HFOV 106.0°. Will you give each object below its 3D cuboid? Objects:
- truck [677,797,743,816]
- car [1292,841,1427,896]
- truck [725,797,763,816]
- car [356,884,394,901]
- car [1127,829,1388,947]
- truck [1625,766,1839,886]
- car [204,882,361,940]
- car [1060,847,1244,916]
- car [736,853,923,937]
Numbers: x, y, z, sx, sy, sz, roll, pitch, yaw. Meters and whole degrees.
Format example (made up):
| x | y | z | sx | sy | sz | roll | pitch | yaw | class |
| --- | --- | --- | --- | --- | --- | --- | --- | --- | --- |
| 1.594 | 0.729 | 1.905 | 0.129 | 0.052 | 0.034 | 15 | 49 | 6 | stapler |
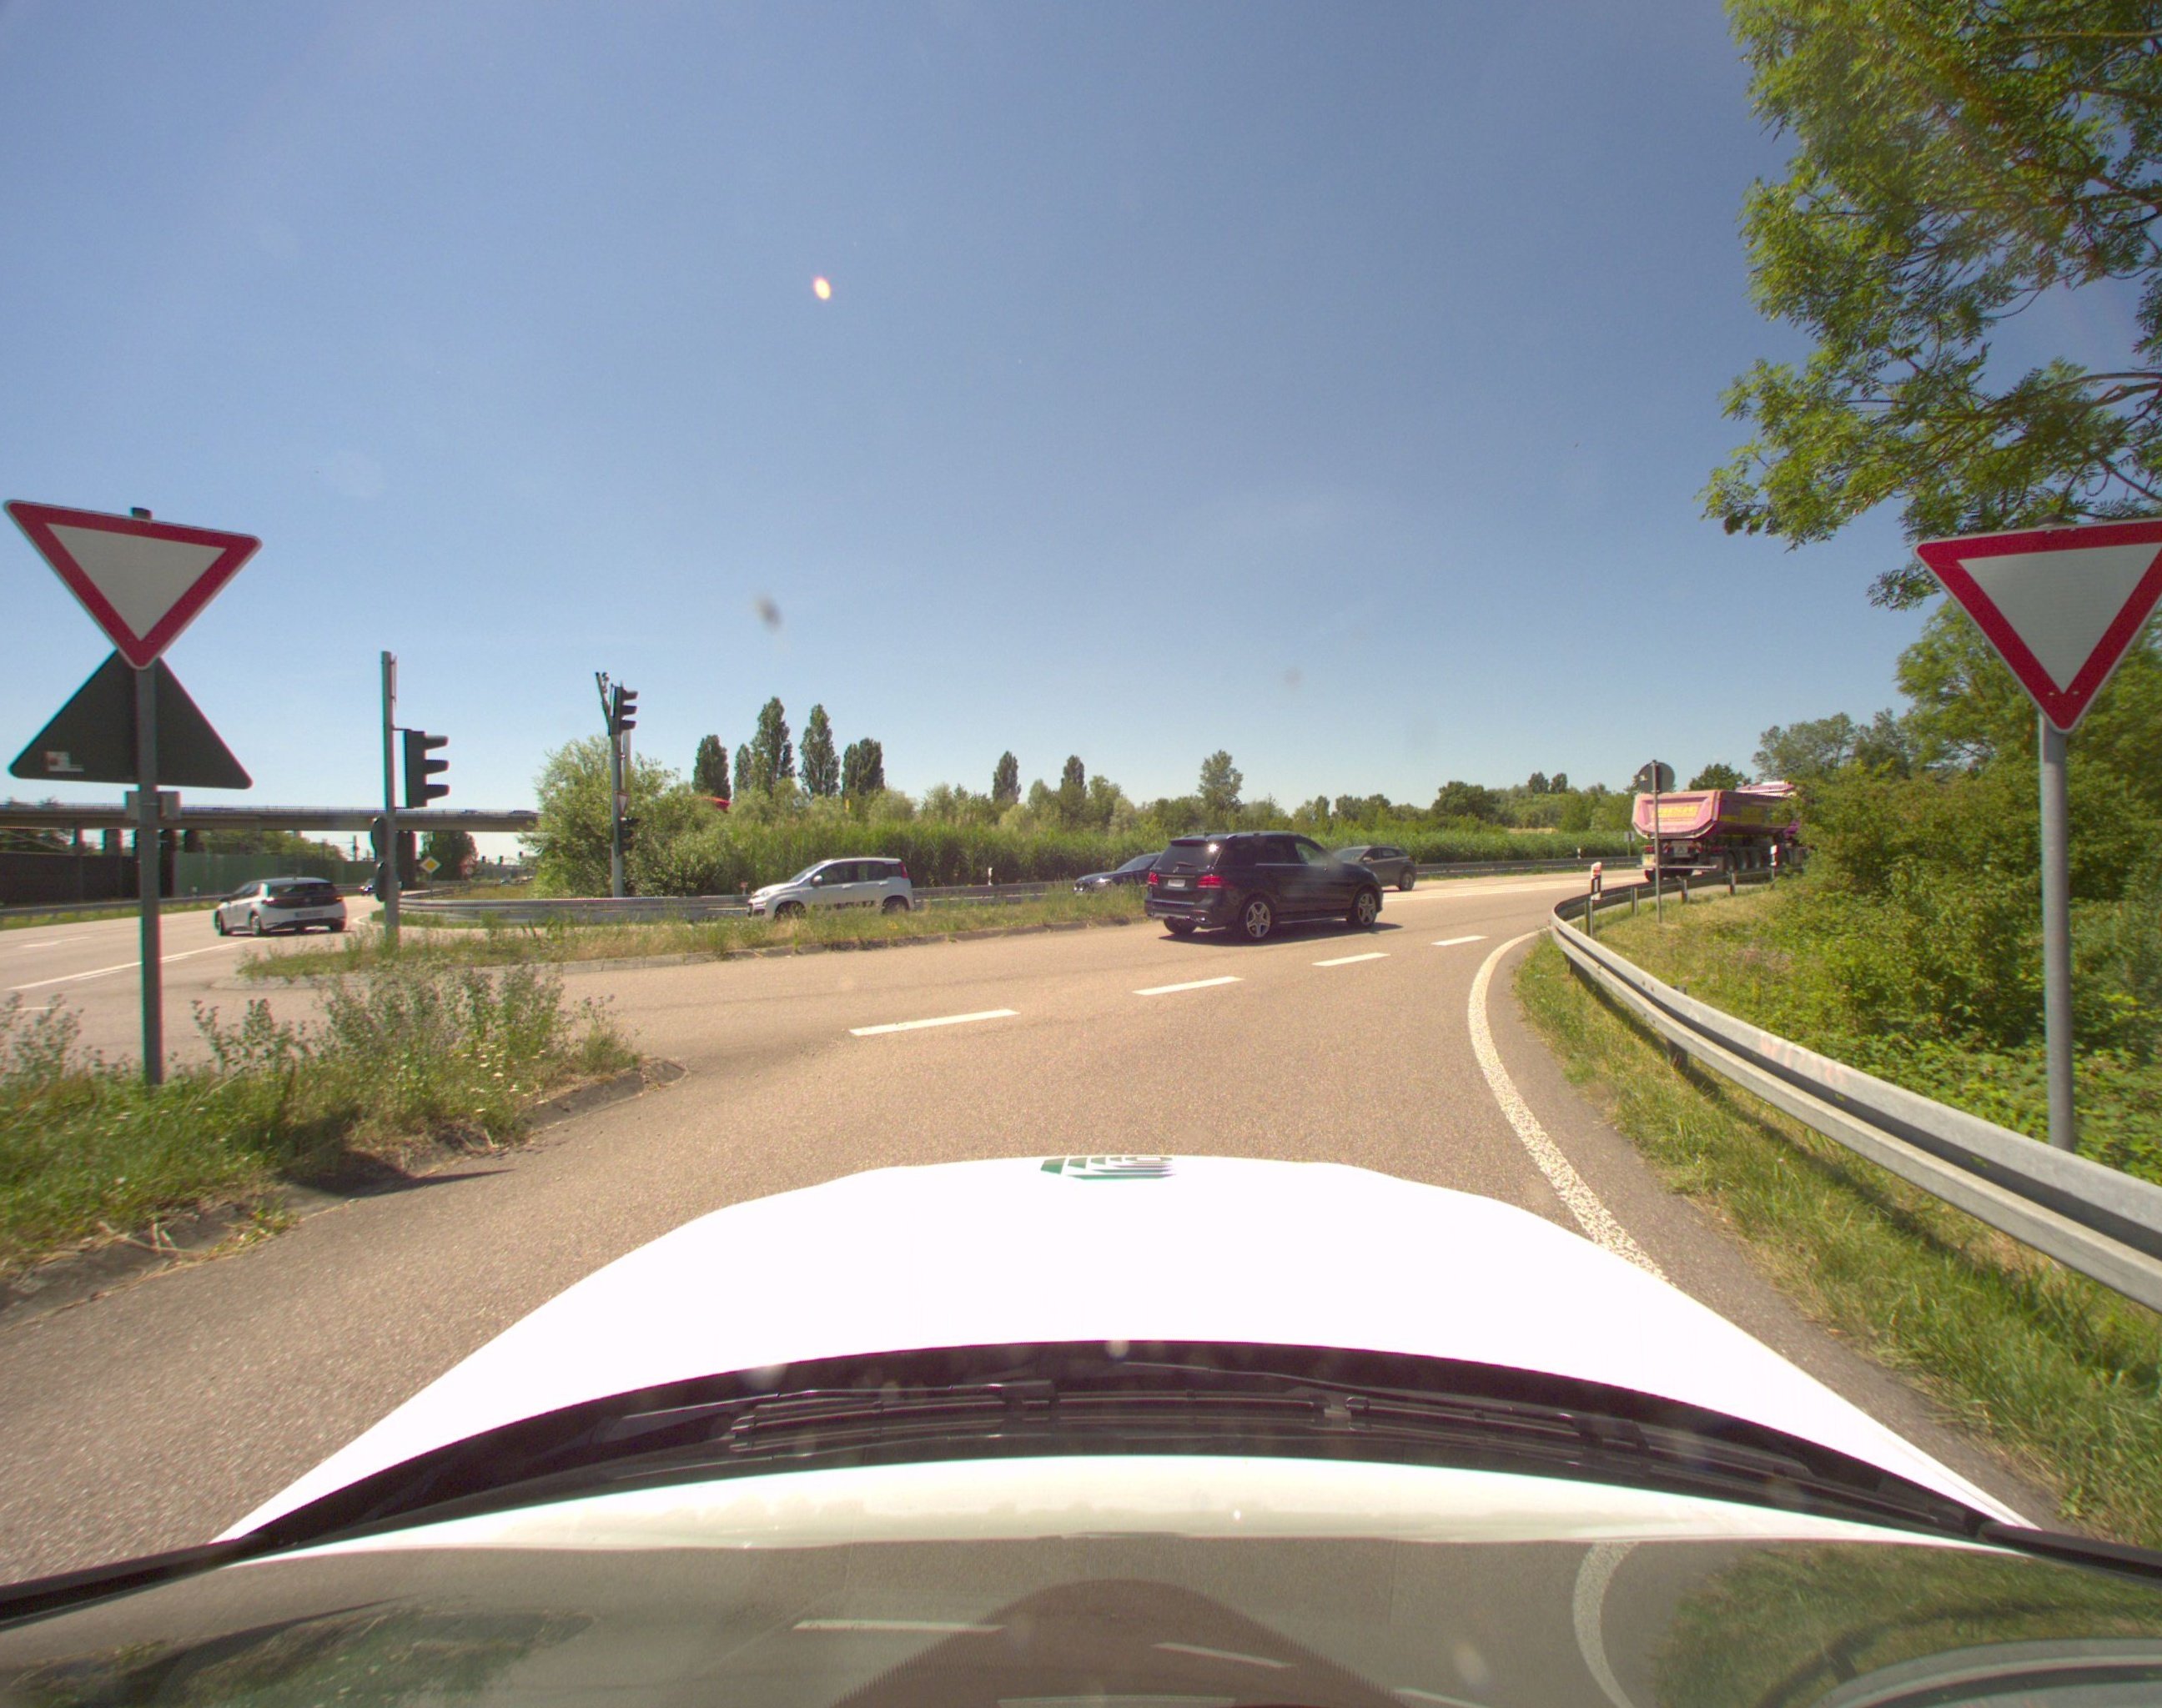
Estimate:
| x | y | z | sx | sy | sz | roll | pitch | yaw | class |
| --- | --- | --- | --- | --- | --- | --- | --- | --- | --- |
| -54.523 | -6.937 | 119.743 | 8.553 | 2.674 | 1.980 | -2 | 0 | -32 | truck |
| 9.320 | 0.453 | 27.180 | 4.251 | 1.631 | 1.915 | -2 | 0 | -30 | car |
| -50.515 | -7.088 | 122.142 | 5.119 | 2.674 | 1.982 | -2 | 0 | -27 | truck |
| -67.051 | 3.650 | 77.380 | 2.007 | 1.398 | 4.361 | -2 | 0 | -32 | car |
| 3.199 | 0.485 | 14.337 | 4.618 | 1.768 | 1.912 | -1 | 0 | -37 | car |
| 24.674 | -1.040 | 30.505 | 11.933 | 3.821 | 2.812 | -2 | 0 | -34 | truck |
| -22.501 | 1.573 | 22.934 | 4.350 | 1.398 | 2.013 | -2 | 0 | 30 | car |
| 2.064 | 0.717 | 23.169 | 4.955 | 1.631 | 1.915 | -2 | 0 | -30 | car |
| -5.690 | 0.863 | 18.507 | 3.731 | 1.631 | 1.717 | -2 | 0 | -32 | car |
